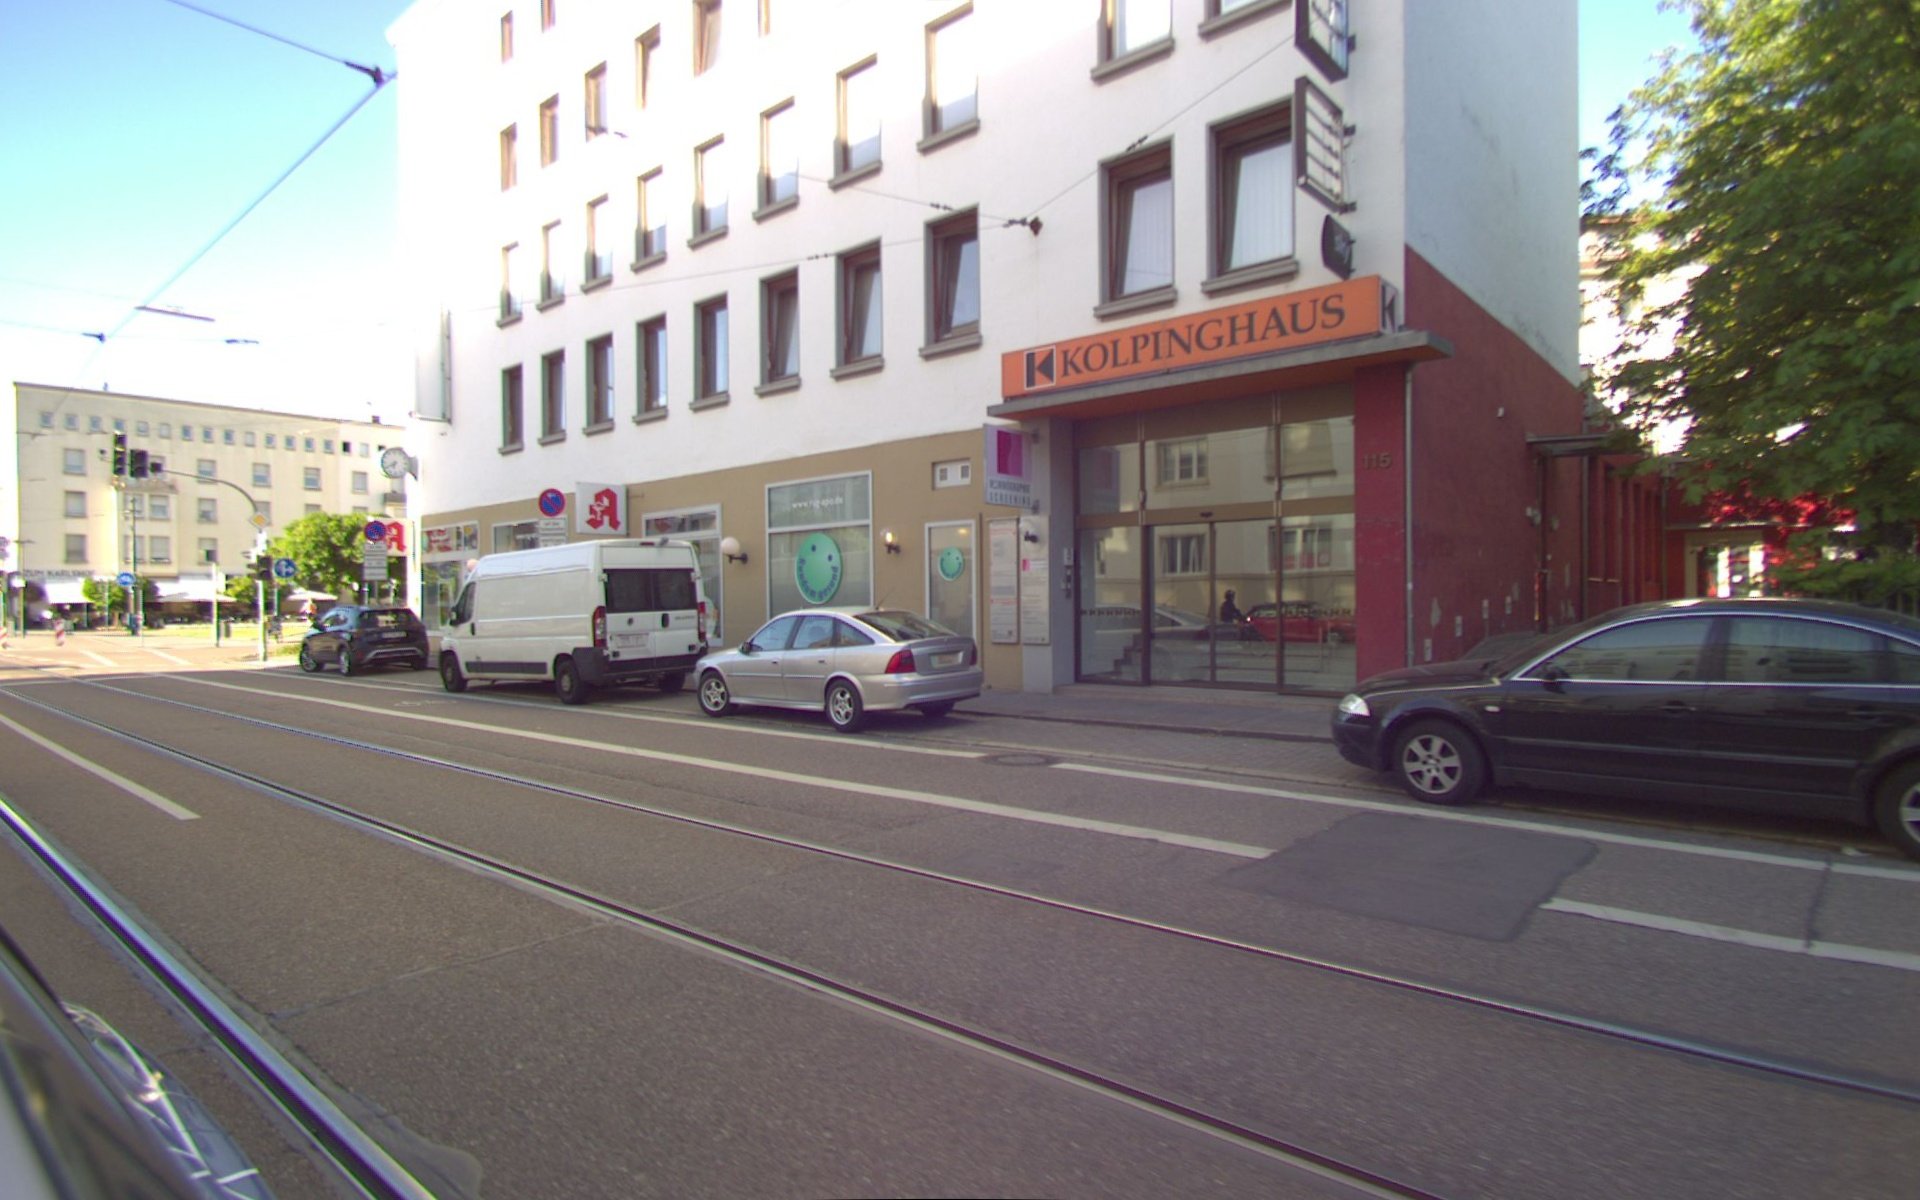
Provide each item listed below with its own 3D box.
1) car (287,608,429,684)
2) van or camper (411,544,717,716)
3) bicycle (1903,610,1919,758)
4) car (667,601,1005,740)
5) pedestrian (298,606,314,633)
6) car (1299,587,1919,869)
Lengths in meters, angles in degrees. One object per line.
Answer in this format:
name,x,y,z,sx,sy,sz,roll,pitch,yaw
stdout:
car,-14.285,1.027,23.946,3.991,1.564,1.764,-1,1,42
van or camper,-7.008,0.437,17.462,6.227,2.485,2.150,-1,1,40
bicycle,8.566,0.669,7.672,2.049,1.183,0.435,-1,0,42
car,-1.718,0.774,12.854,4.444,1.409,1.764,-1,1,42
pedestrian,-41.262,1.231,63.844,0.839,1.708,0.658,-1,-1,43
car,4.966,0.707,6.917,4.696,1.492,1.765,-1,1,40
